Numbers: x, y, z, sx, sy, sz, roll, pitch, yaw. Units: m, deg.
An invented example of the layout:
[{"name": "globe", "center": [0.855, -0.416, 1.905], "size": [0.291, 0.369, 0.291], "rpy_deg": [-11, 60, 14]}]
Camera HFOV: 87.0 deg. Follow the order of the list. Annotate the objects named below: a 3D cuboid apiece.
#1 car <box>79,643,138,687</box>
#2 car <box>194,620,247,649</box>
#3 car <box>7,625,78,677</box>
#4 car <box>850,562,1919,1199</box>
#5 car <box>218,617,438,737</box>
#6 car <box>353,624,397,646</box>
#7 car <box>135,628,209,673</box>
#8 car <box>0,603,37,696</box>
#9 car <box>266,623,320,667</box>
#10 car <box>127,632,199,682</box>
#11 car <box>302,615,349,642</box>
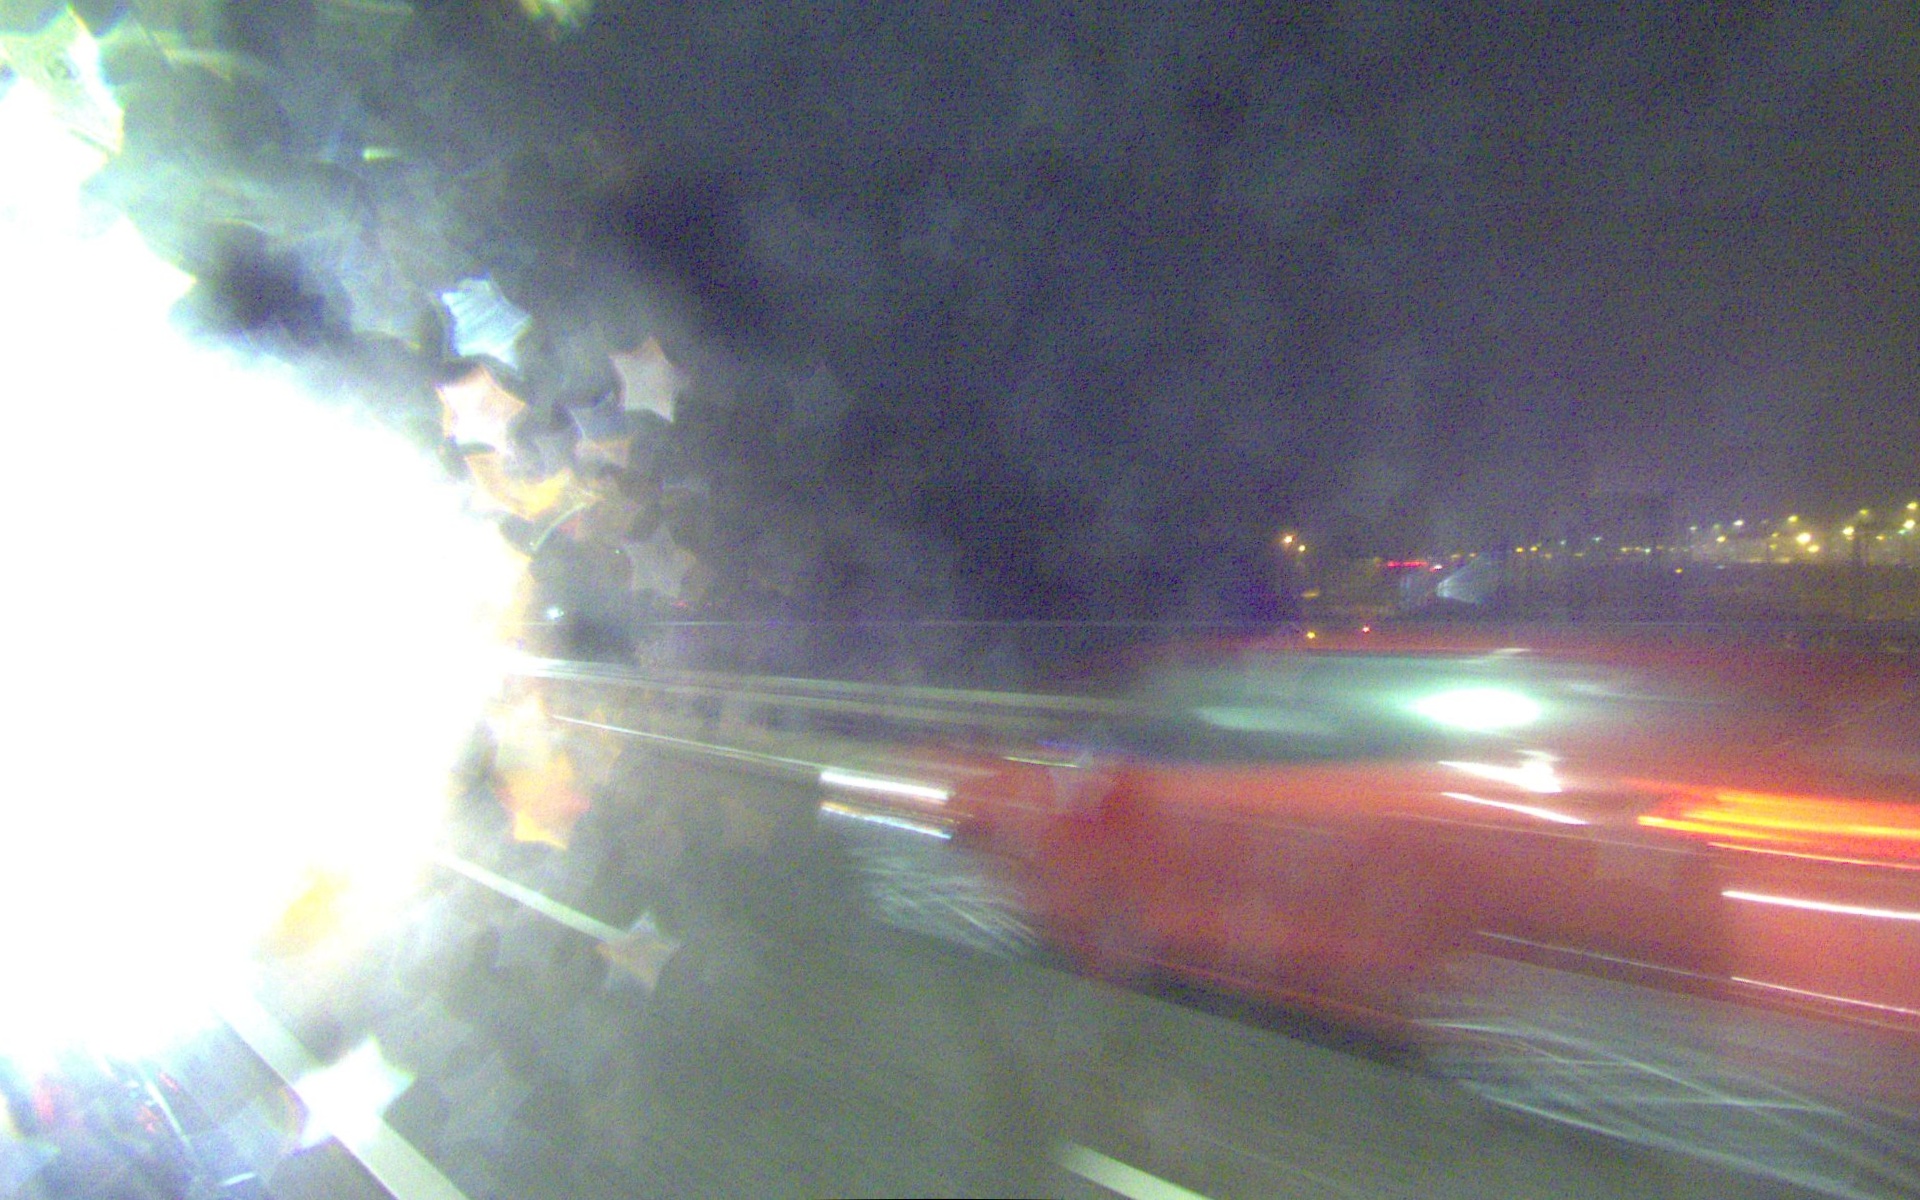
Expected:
[{"name": "car", "center": [-33.520, 2.580, 39.886], "size": [1.284, 1.540, 3.054], "rpy_deg": [-4, -2, -32]}, {"name": "car", "center": [-55.269, 2.555, 75.730], "size": [1.839, 2.029, 4.011], "rpy_deg": [-1, -2, -15]}, {"name": "car", "center": [-29.151, 1.621, 32.221], "size": [1.499, 1.537, 3.112], "rpy_deg": [0, -2, -39]}, {"name": "car", "center": [1.581, 0.689, 3.943], "size": [4.048, 1.415, 1.795], "rpy_deg": [-3, -3, 43]}, {"name": "car", "center": [-9.278, 0.993, 14.699], "size": [4.452, 1.401, 1.664], "rpy_deg": [-1, 1, 44]}, {"name": "car", "center": [-39.514, 2.340, 68.410], "size": [1.741, 1.438, 4.232], "rpy_deg": [1, -2, -18]}, {"name": "car", "center": [-26.941, 1.687, 34.652], "size": [1.871, 1.450, 4.071], "rpy_deg": [0, -2, -38]}, {"name": "car", "center": [-22.700, 1.100, 23.187], "size": [1.968, 2.029, 4.008], "rpy_deg": [0, -1, -38]}, {"name": "car", "center": [-25.670, 1.716, 39.022], "size": [1.450, 1.597, 3.200], "rpy_deg": [0, -2, -29]}, {"name": "car", "center": [-41.980, 2.963, 53.411], "size": [1.966, 2.027, 4.014], "rpy_deg": [-6, 5, -26]}, {"name": "car", "center": [-44.398, 2.018, 70.938], "size": [1.971, 1.687, 4.631], "rpy_deg": [-1, -3, -22]}]
